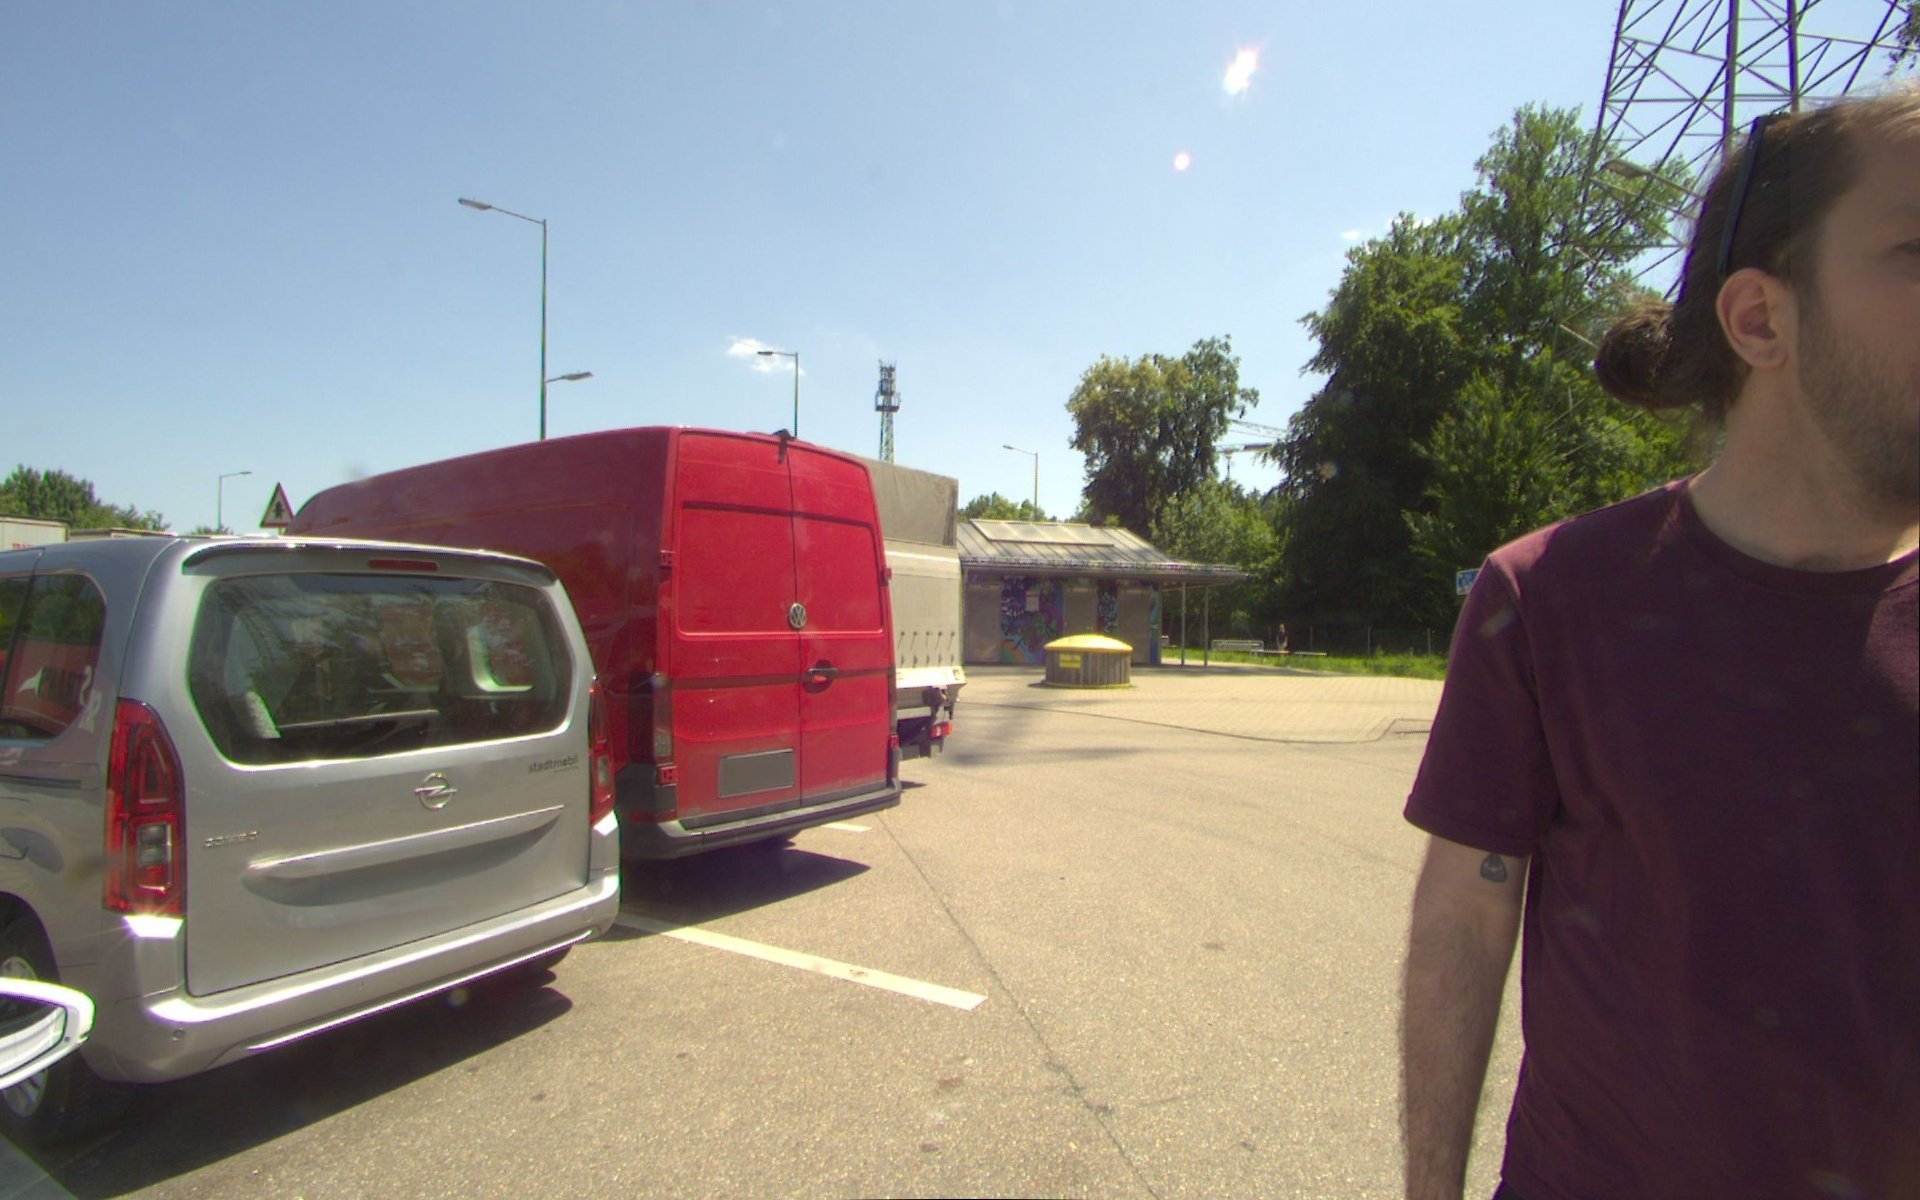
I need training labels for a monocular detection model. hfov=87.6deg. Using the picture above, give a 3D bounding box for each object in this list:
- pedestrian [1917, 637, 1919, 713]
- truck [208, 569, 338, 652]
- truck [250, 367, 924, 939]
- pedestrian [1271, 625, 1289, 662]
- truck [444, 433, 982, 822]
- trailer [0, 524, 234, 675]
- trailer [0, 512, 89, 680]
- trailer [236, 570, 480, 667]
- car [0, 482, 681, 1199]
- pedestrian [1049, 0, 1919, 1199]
[{"bbox_3d":[17.255,1.328,17.479,0.690,1.352,0.561,-1,-1,33],"label":"pedestrian"},{"bbox_3d":[-32.098,0.472,46.759,5.813,3.566,2.799,2,-2,33],"label":"truck"},{"bbox_3d":[-2.891,0.340,7.049,5.238,2.655,1.972,-2,-2,38],"label":"truck"},{"bbox_3d":[14.461,1.965,45.230,0.723,1.658,0.792,0,-1,14],"label":"pedestrian"},{"bbox_3d":[-2.740,0.308,10.288,5.581,2.949,2.449,-2,-2,37],"label":"truck"},{"bbox_3d":[-27.956,-0.098,31.786,14.184,4.040,2.808,2,-2,33],"label":"trailer"},{"bbox_3d":[-29.019,-0.257,28.140,14.184,4.040,2.808,2,-2,33],"label":"trailer"},{"bbox_3d":[-26.103,0.651,42.902,14.184,3.552,2.808,2,-2,33],"label":"trailer"},{"bbox_3d":[-3.383,0.689,4.249,4.113,1.887,1.868,1,-2,31],"label":"car"},{"bbox_3d":[0.680,0.480,0.862,0.856,1.857,0.853,1,-2,-43],"label":"pedestrian"}]
